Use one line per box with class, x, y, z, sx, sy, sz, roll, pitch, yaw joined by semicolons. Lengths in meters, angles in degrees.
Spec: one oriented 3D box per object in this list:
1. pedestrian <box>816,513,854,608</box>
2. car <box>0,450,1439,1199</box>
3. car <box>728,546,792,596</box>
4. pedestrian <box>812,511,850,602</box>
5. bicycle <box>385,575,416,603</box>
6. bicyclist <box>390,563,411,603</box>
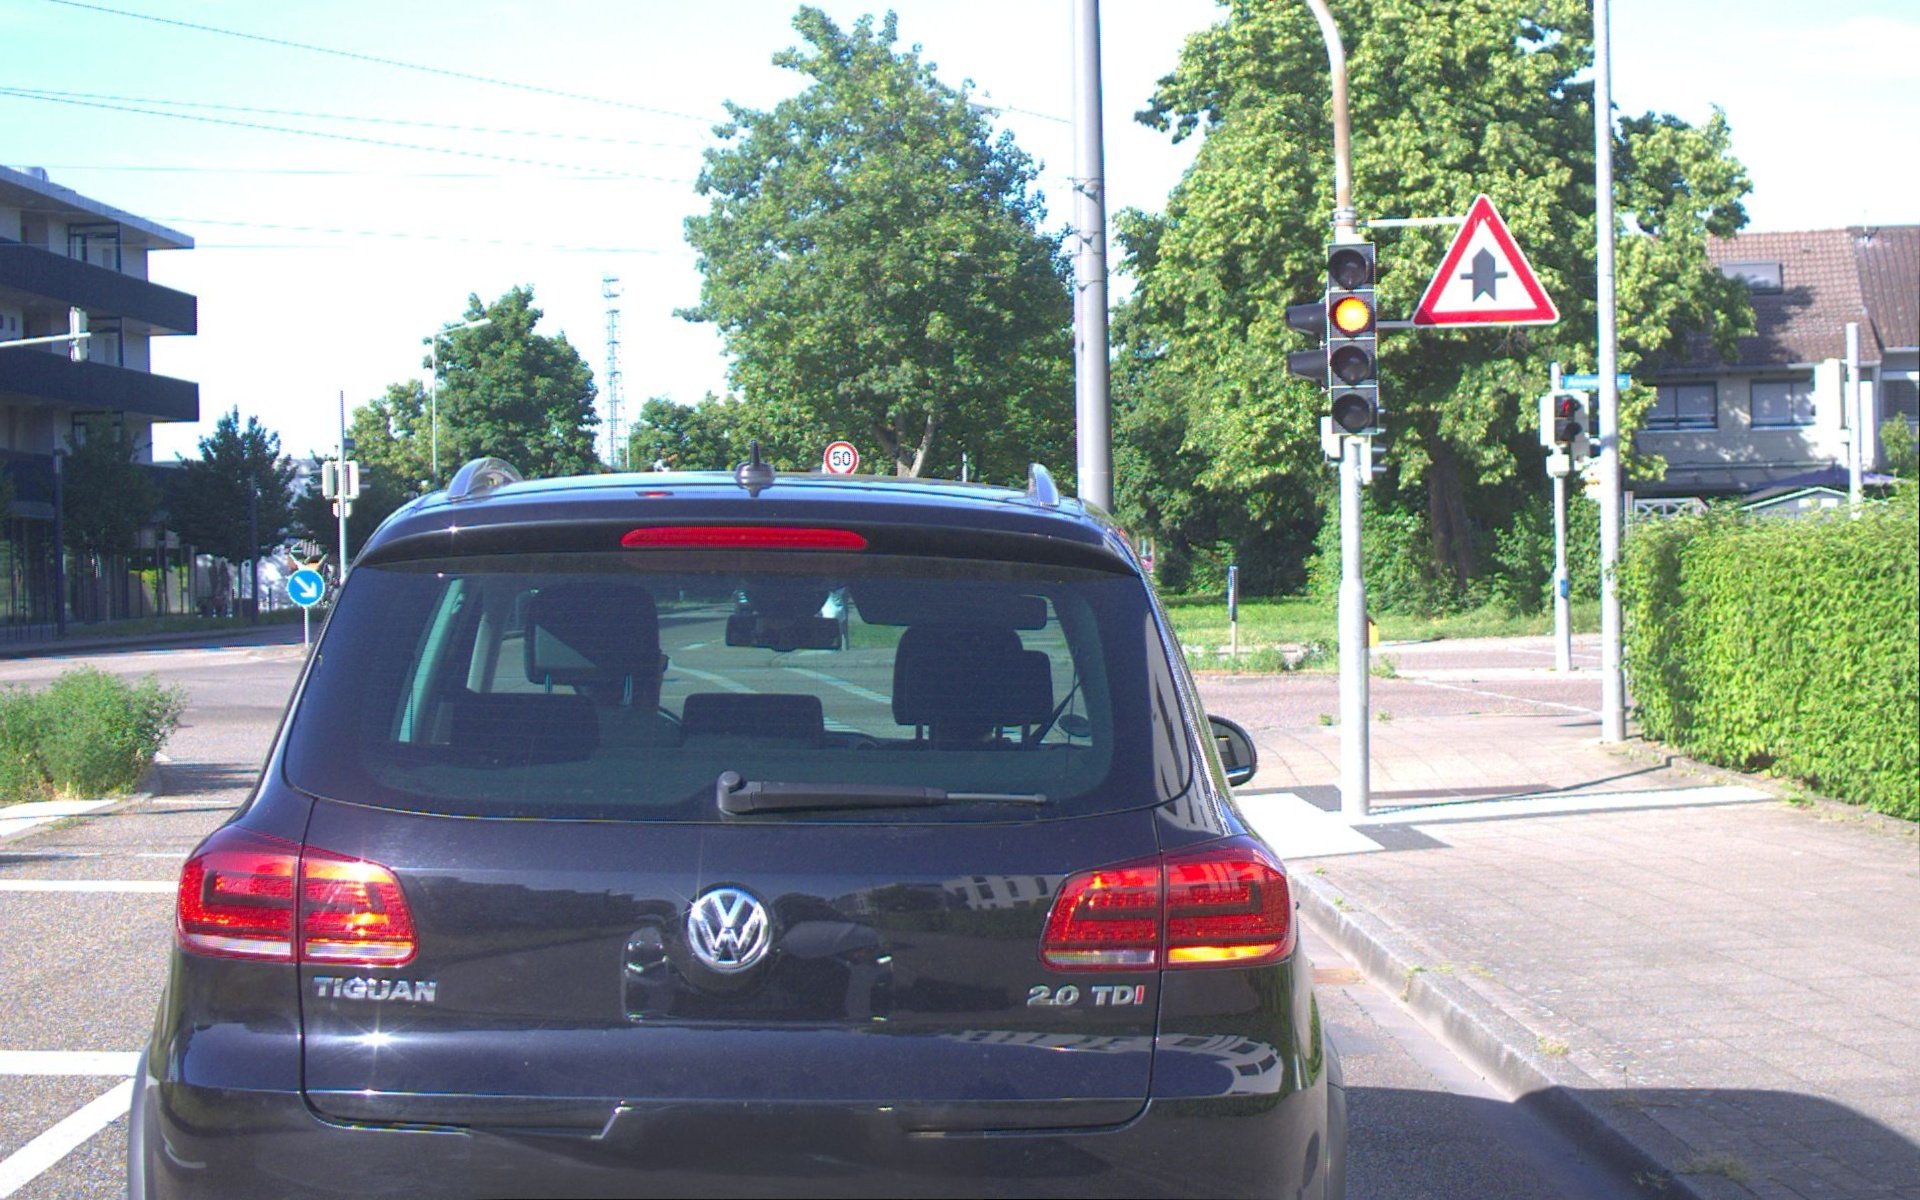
pedestrian;-2.167;-0.686;59.801;0.603;1.634;0.529;0;1;4
car;-0.393;0.592;6.500;1.905;1.637;4.000;0;1;-2
car;-5.808;-0.858;99.942;1.751;1.382;4.000;0;1;-2
pedestrian;-2.220;-0.756;59.130;0.603;1.559;0.529;0;1;4
bicycle;-17.233;-0.339;105.974;0.496;0.845;2.078;0;1;3
bicyclist;-17.234;-0.514;105.879;0.474;1.219;0.712;0;1;3
